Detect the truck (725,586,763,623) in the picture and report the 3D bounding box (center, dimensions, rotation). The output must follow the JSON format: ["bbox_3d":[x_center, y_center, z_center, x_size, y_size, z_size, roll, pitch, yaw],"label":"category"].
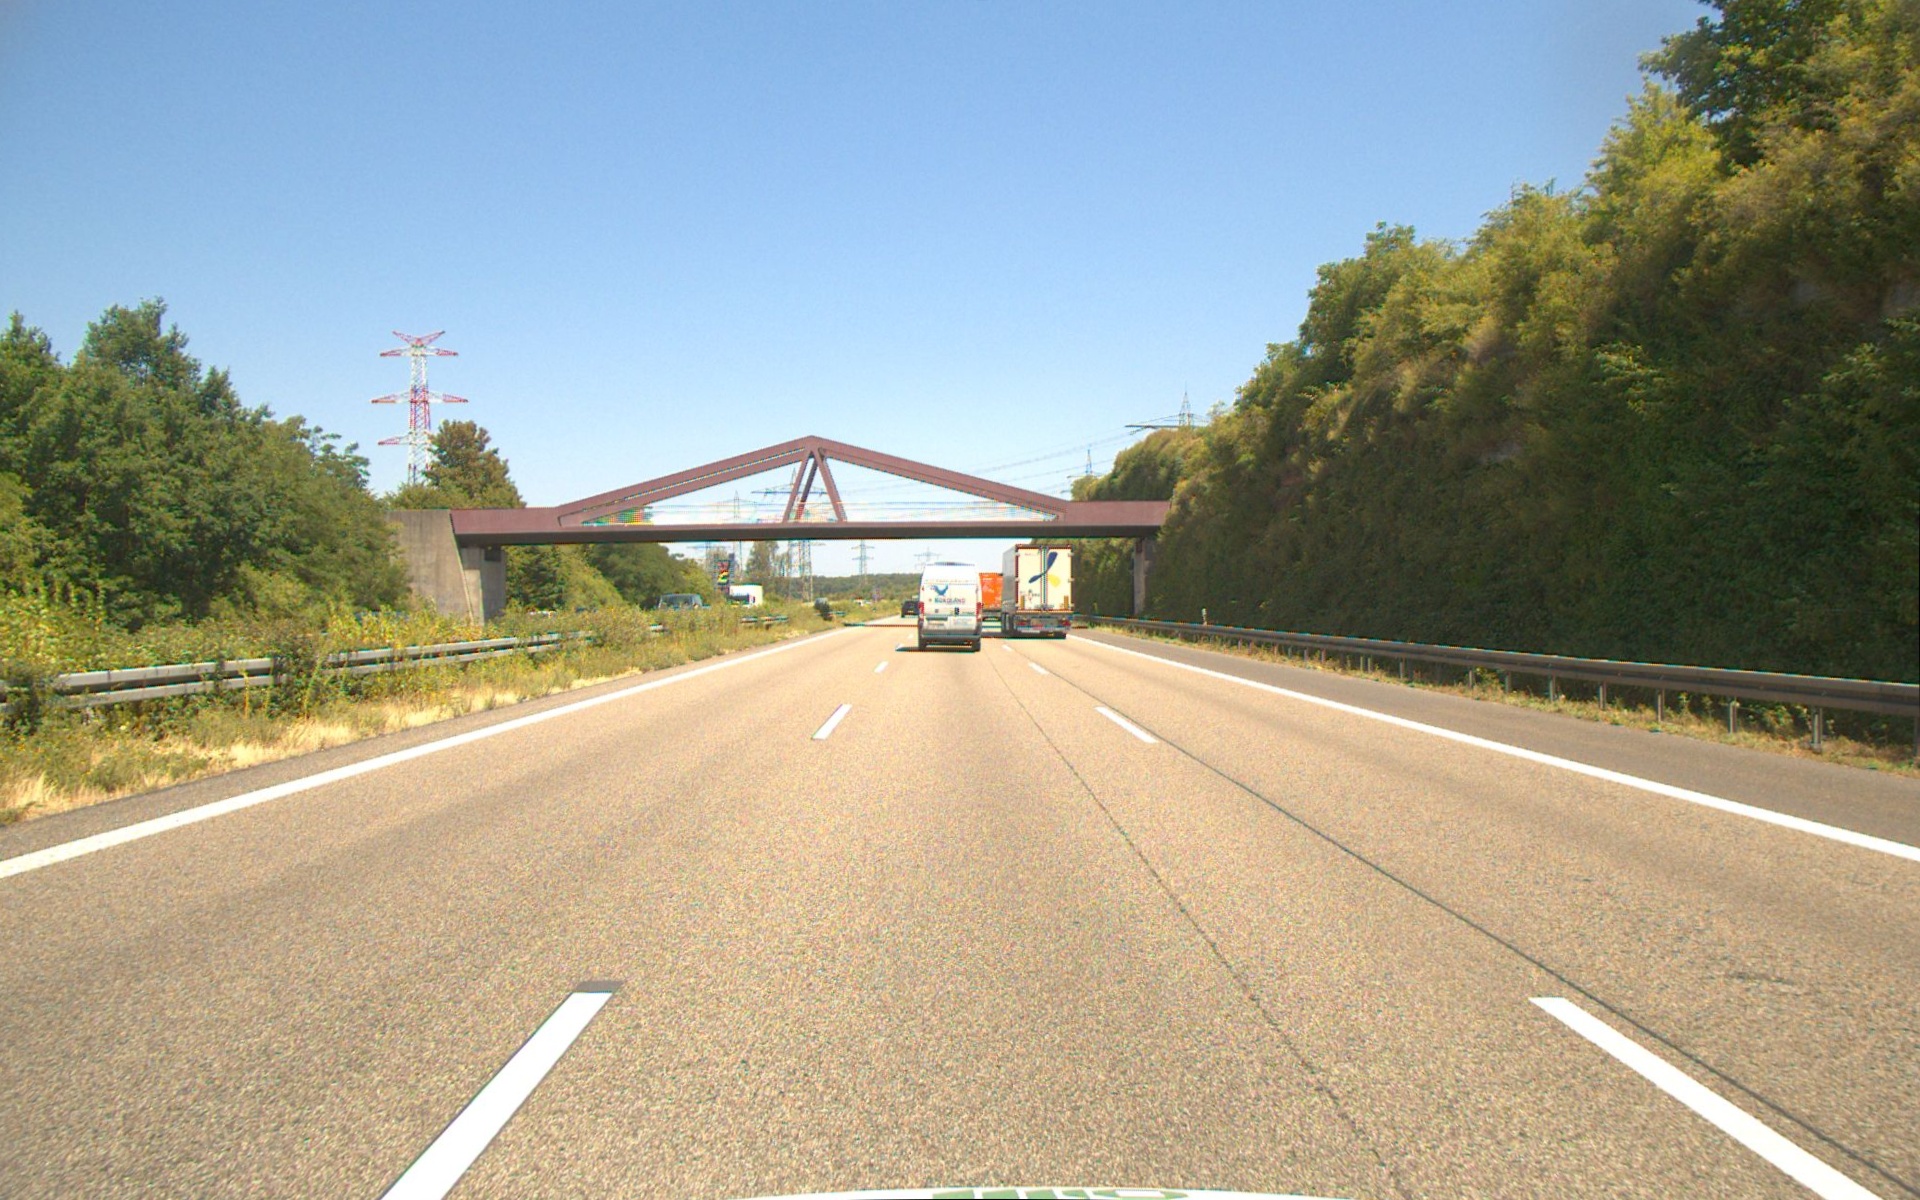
[{"bbox_3d":[-22.279,0.413,171.028,2.751,3.599,10.186,-2,0,-1],"label":"truck"}]

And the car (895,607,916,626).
[{"bbox_3d":[-5.451,1.623,165.882,1.941,1.849,3.813,1,0,1],"label":"car"}]

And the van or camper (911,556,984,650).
[{"bbox_3d":[-0.425,0.096,53.440,2.185,2.831,5.421,1,0,-1],"label":"van or camper"}]

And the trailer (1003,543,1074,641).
[{"bbox_3d":[3.523,-0.355,77.050,2.583,4.131,12.365,1,0,0],"label":"trailer"}]

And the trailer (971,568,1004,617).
[{"bbox_3d":[2.313,-0.644,141.204,2.583,3.965,7.068,1,0,0],"label":"trailer"}]
